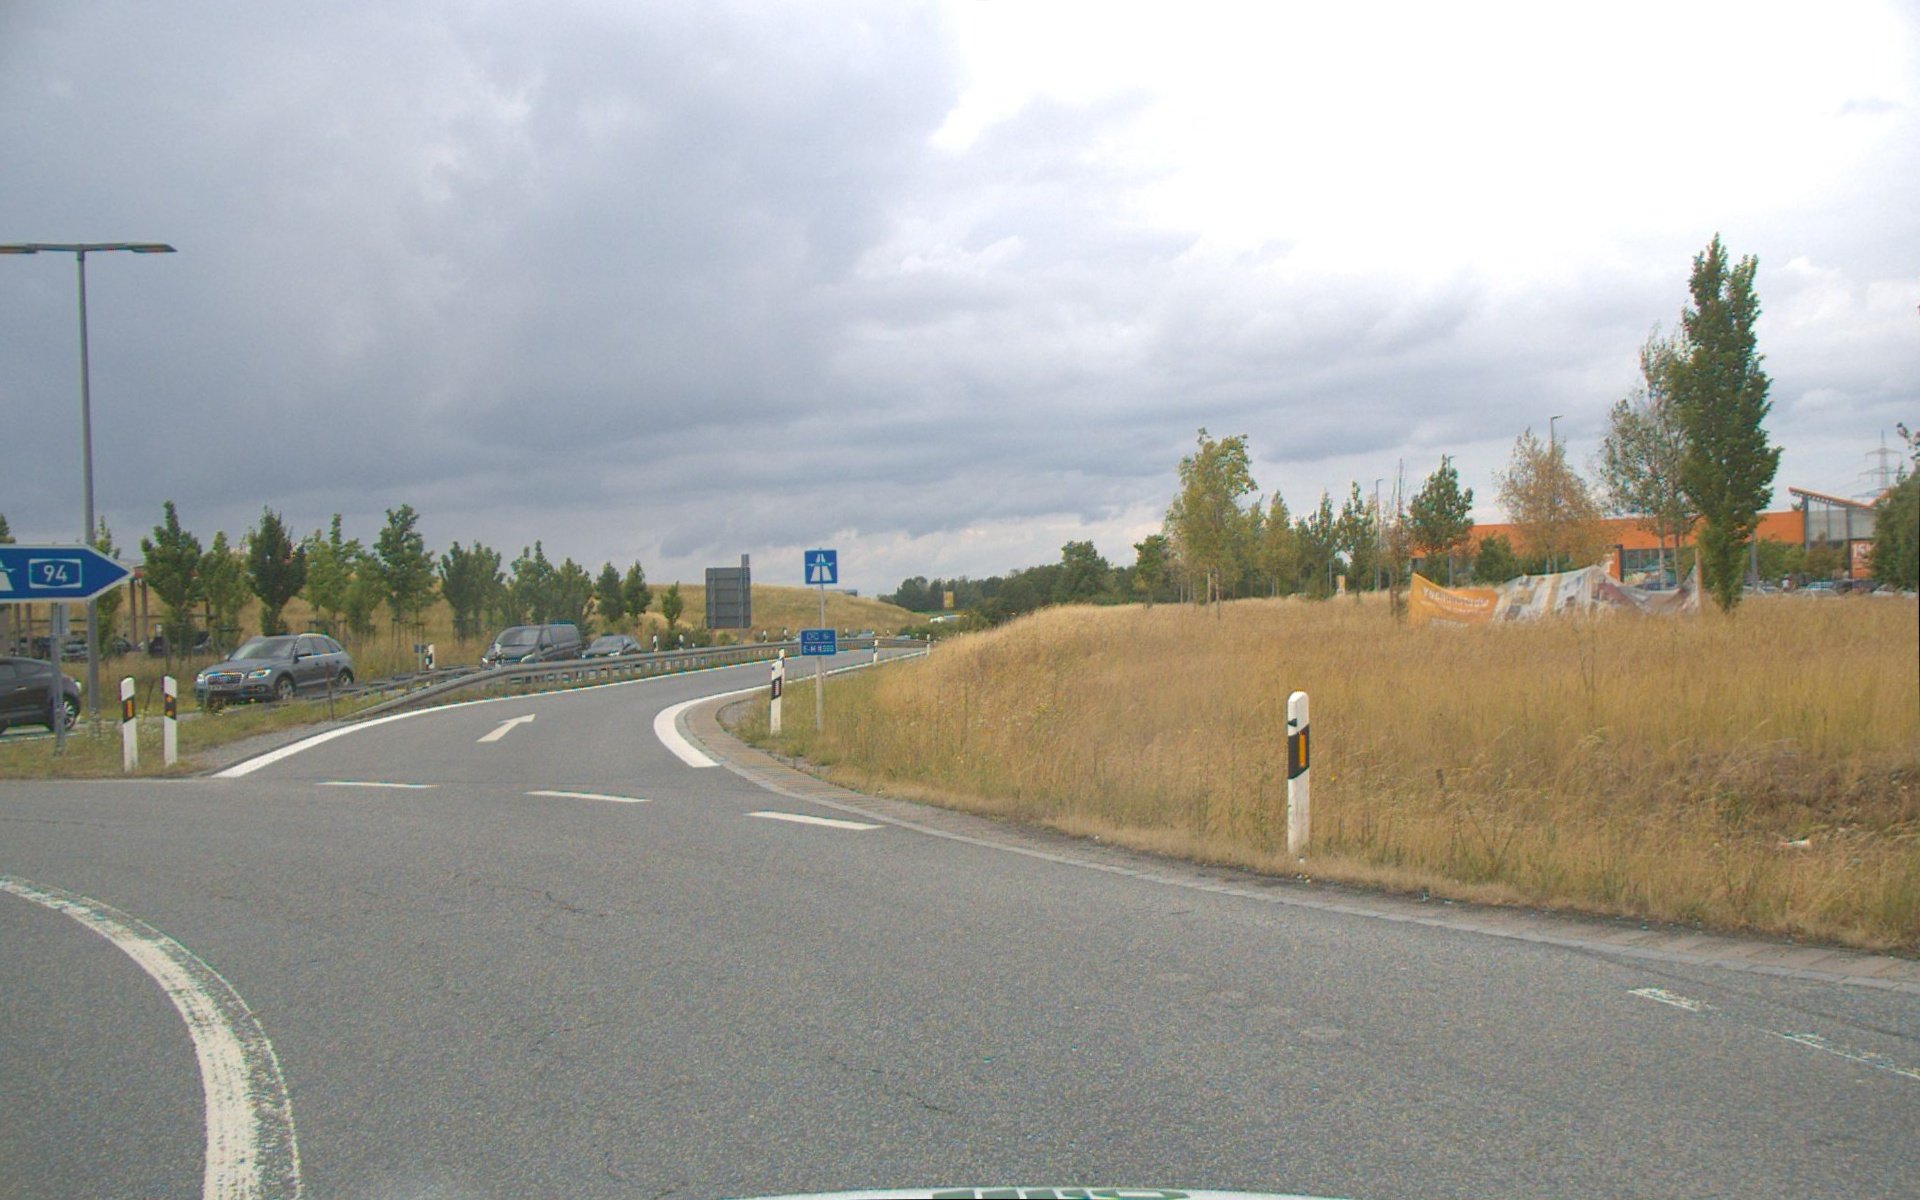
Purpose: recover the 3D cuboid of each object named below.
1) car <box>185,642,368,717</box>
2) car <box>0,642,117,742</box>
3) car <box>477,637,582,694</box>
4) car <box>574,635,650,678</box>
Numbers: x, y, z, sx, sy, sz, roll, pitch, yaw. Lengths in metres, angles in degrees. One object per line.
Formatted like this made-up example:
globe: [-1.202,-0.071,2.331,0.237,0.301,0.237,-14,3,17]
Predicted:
car: [-15.245,1.742,37.189,1.693,1.518,4.546,-1,-1,9]
car: [-17.505,1.667,29.231,1.952,1.713,4.594,-3,-2,18]
car: [-14.366,2.164,55.429,1.952,1.713,4.594,-3,-2,4]
car: [-15.068,2.428,71.880,1.952,1.713,4.594,-3,-2,4]
